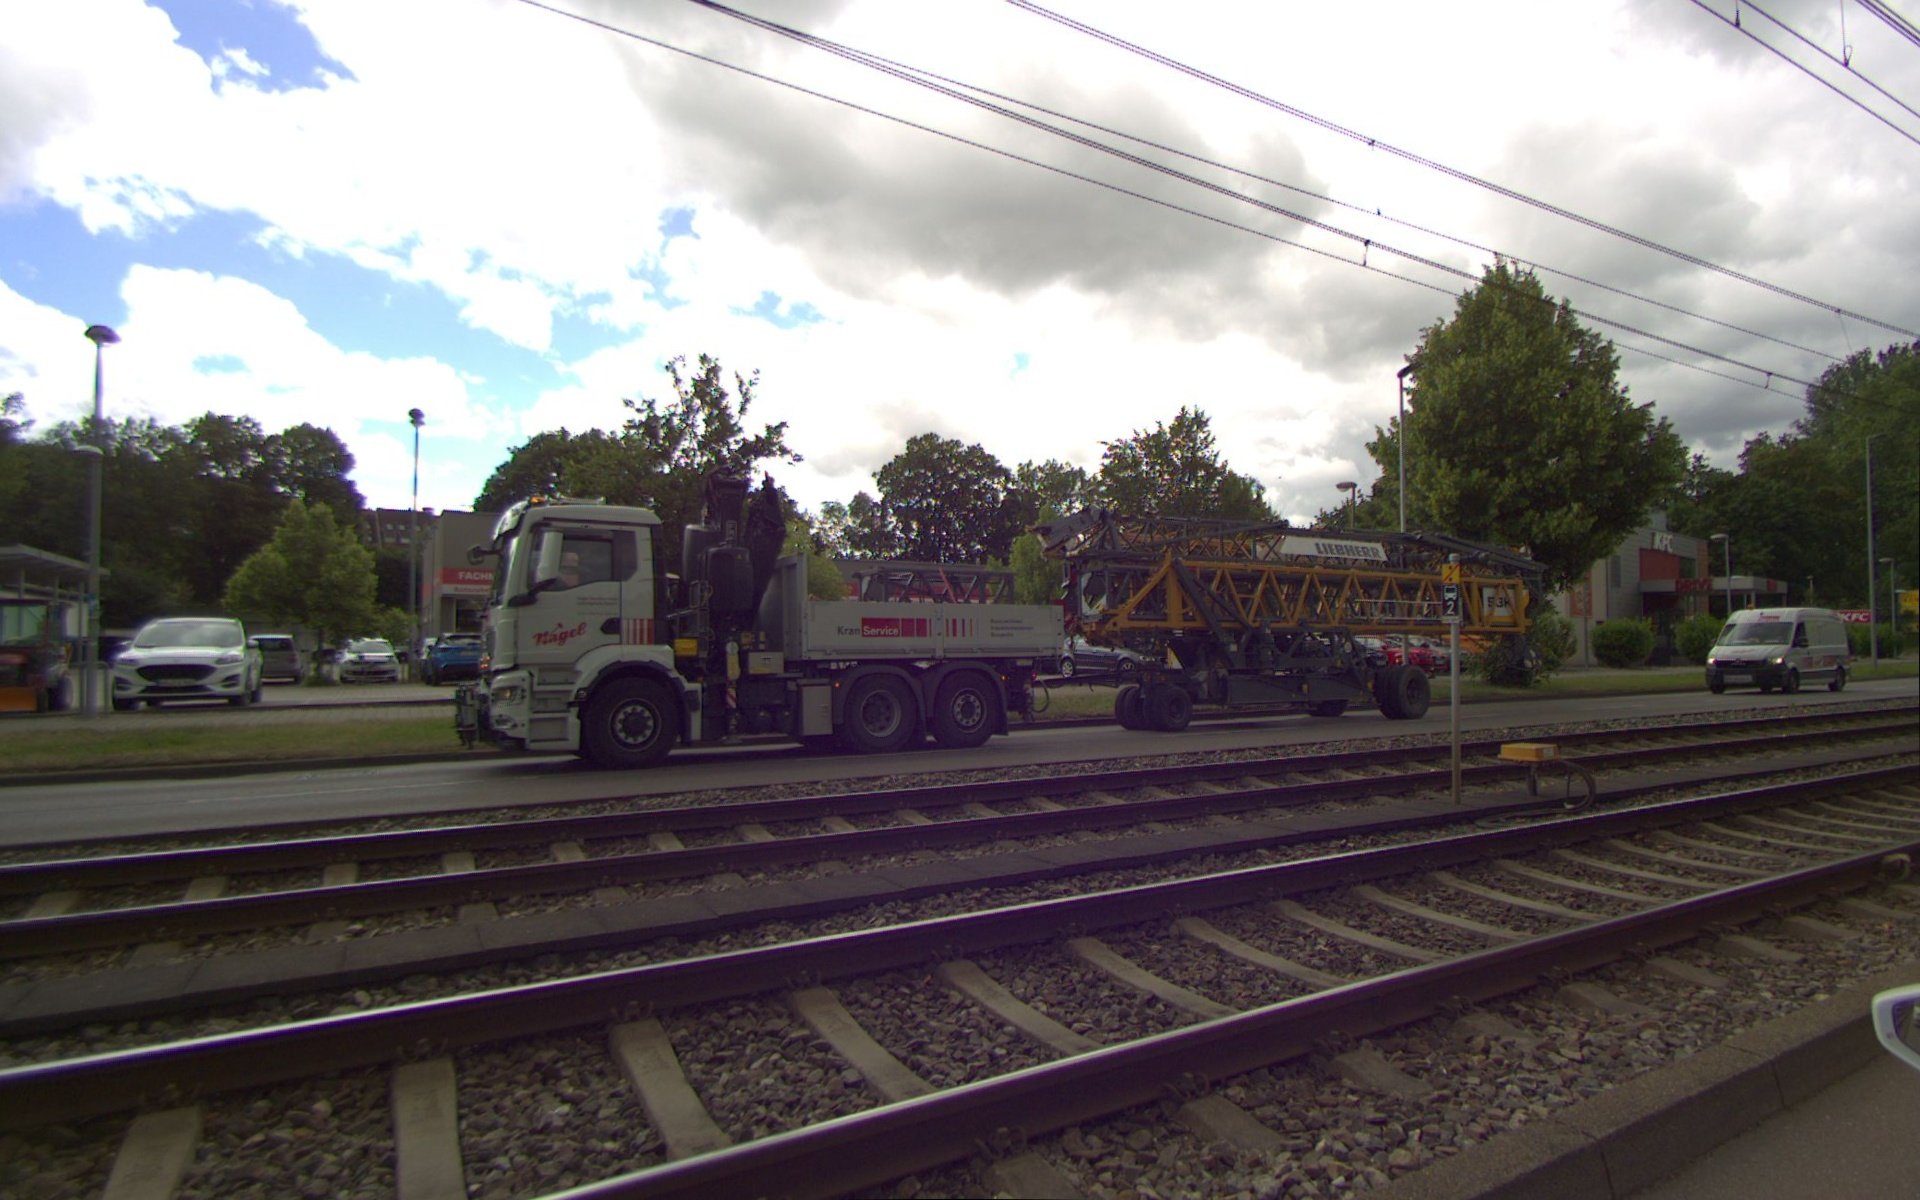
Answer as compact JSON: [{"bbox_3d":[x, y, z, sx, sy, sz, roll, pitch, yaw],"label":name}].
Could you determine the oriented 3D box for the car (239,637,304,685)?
[{"bbox_3d":[-22.883,1.980,33.330,1.664,1.491,3.717,1,-3,-36],"label":"car"}]

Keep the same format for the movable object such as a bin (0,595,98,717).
[{"bbox_3d":[-16.788,0.985,17.847,1.661,1.962,3.965,1,-3,-33],"label":"movable object such as a bin"}]

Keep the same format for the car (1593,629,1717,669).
[{"bbox_3d":[29.338,2.062,42.509,1.778,1.620,3.963,1,-3,-34],"label":"car"}]

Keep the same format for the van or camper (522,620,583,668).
[{"bbox_3d":[-19.232,2.068,47.299,1.803,2.173,4.236,1,-3,-34],"label":"van or camper"}]

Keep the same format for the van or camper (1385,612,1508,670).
[{"bbox_3d":[19.016,1.551,39.388,1.859,2.163,3.963,1,-1,-34],"label":"van or camper"}]

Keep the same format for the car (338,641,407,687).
[{"bbox_3d":[-20.159,2.154,34.418,1.664,1.491,3.717,1,-3,-36],"label":"car"}]

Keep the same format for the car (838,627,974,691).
[{"bbox_3d":[-1.480,1.451,25.731,1.661,1.491,4.284,1,-2,-31],"label":"car"}]

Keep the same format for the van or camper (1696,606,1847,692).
[{"bbox_3d":[24.587,1.441,30.348,5.707,2.385,1.981,1,-3,-35],"label":"van or camper"}]

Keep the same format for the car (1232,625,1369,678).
[{"bbox_3d":[11.066,1.657,32.879,1.859,1.620,3.963,1,-3,-34],"label":"car"}]

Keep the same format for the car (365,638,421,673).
[{"bbox_3d":[-25.044,2.438,44.292,1.752,1.491,3.717,1,-3,-36],"label":"car"}]

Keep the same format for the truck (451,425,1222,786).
[{"bbox_3d":[-1.061,0.195,14.493,10.993,3.711,2.691,1,-3,-33],"label":"truck"}]

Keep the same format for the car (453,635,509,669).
[{"bbox_3d":[-22.159,2.383,46.393,1.664,1.491,3.717,1,-3,-36],"label":"car"}]

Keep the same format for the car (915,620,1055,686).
[{"bbox_3d":[0.603,1.405,27.179,1.859,1.656,3.963,1,-3,-34],"label":"car"}]

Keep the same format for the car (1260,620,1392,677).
[{"bbox_3d":[12.506,1.614,34.559,1.859,1.821,3.963,1,-1,-34],"label":"car"}]

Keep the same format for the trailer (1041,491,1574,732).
[{"bbox_3d":[7.649,0.340,20.236,13.157,3.708,2.689,1,-3,-33],"label":"trailer"}]

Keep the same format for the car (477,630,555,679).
[{"bbox_3d":[-16.260,1.973,36.713,1.716,1.699,4.194,1,-3,-37],"label":"car"}]

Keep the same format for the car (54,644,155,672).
[{"bbox_3d":[-42.348,2.854,49.806,3.547,1.351,1.464,1,-3,-30],"label":"car"}]

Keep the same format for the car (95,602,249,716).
[{"bbox_3d":[-14.164,1.036,18.268,1.859,1.821,3.963,1,-3,-34],"label":"car"}]

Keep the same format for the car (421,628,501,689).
[{"bbox_3d":[-15.337,1.751,30.751,1.917,1.706,4.265,1,-3,-30],"label":"car"}]

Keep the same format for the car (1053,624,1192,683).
[{"bbox_3d":[4.711,1.552,29.655,1.859,1.620,3.963,1,-3,-34],"label":"car"}]
